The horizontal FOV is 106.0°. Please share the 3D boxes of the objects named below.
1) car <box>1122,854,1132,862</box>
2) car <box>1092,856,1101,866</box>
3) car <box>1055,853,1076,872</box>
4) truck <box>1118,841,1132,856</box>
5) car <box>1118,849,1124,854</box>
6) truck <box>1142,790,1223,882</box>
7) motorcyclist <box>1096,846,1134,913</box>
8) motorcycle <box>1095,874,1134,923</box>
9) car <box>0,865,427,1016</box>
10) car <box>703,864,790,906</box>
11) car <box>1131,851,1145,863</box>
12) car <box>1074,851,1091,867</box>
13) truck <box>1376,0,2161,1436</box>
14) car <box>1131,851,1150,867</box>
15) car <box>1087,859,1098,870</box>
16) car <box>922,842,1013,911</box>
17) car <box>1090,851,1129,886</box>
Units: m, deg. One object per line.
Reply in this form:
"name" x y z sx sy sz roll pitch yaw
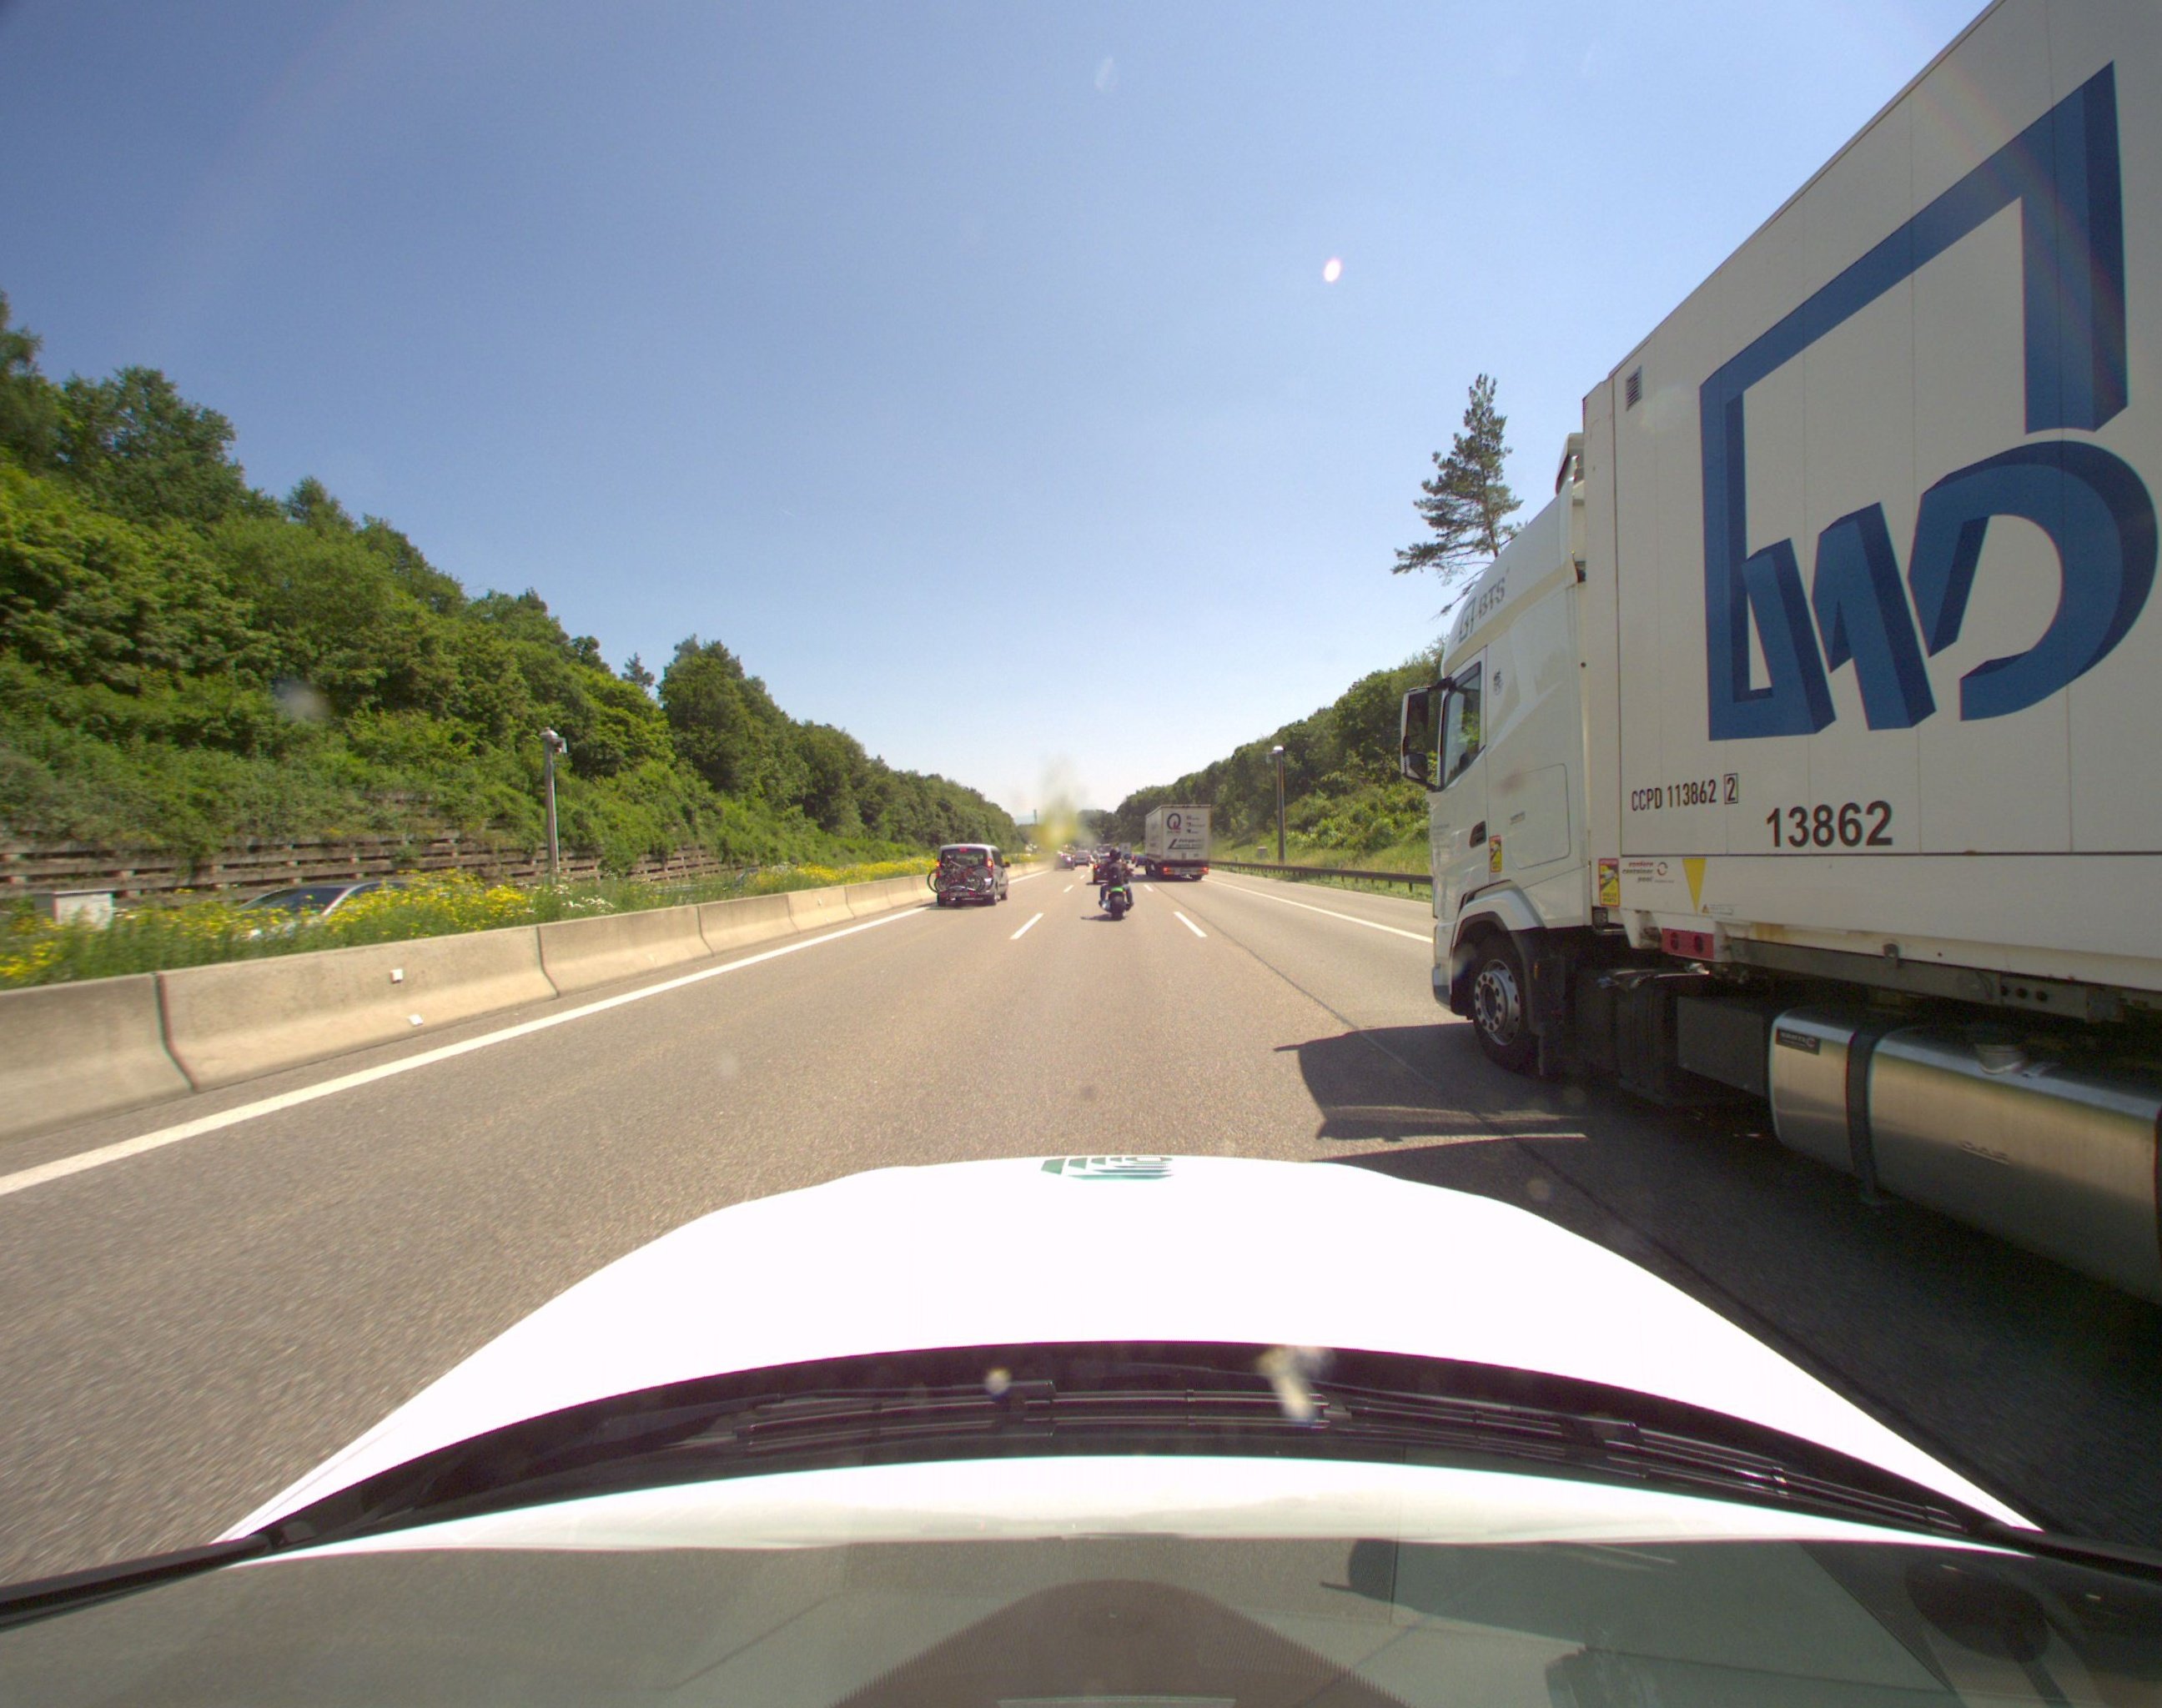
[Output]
"car" 9.445 0.802 167.040 1.824 1.558 4.122 0 1 1
"car" 3.222 1.398 168.150 1.824 1.810 4.122 0 1 1
"car" -1.392 0.774 74.452 1.751 1.543 4.397 0 1 1
"truck" 10.170 -1.387 189.487 3.056 3.346 9.657 1 1 2
"car" 12.023 -0.725 245.062 1.824 1.558 4.122 0 1 1
"truck" 5.898 -1.091 50.814 3.370 4.717 17.718 1 1 2
"motorcyclist" 0.793 0.582 19.053 0.852 1.515 0.914 -1 0 2
"motorcycle" 0.791 1.011 19.061 0.859 0.982 2.132 -1 0 3
"car" -11.453 0.985 10.965 1.782 1.522 4.204 -2 0 1
"car" -13.885 1.249 34.049 1.782 1.522 4.204 -2 0 1
"car" 8.080 0.459 116.039 1.824 1.558 4.122 0 1 1
"car" 0.205 0.575 96.954 1.824 1.810 4.122 0 1 1
"truck" 3.960 -0.638 2.453 2.669 4.059 10.632 0 1 2
"car" 6.368 0.504 87.524 1.824 1.558 4.122 0 1 1
"car" 2.059 1.810 147.265 1.824 1.810 4.122 0 1 1
"car" -3.375 0.588 25.274 1.891 1.847 5.485 0 1 1
"car" 1.437 0.680 41.095 1.838 1.557 4.441 0 1 1
